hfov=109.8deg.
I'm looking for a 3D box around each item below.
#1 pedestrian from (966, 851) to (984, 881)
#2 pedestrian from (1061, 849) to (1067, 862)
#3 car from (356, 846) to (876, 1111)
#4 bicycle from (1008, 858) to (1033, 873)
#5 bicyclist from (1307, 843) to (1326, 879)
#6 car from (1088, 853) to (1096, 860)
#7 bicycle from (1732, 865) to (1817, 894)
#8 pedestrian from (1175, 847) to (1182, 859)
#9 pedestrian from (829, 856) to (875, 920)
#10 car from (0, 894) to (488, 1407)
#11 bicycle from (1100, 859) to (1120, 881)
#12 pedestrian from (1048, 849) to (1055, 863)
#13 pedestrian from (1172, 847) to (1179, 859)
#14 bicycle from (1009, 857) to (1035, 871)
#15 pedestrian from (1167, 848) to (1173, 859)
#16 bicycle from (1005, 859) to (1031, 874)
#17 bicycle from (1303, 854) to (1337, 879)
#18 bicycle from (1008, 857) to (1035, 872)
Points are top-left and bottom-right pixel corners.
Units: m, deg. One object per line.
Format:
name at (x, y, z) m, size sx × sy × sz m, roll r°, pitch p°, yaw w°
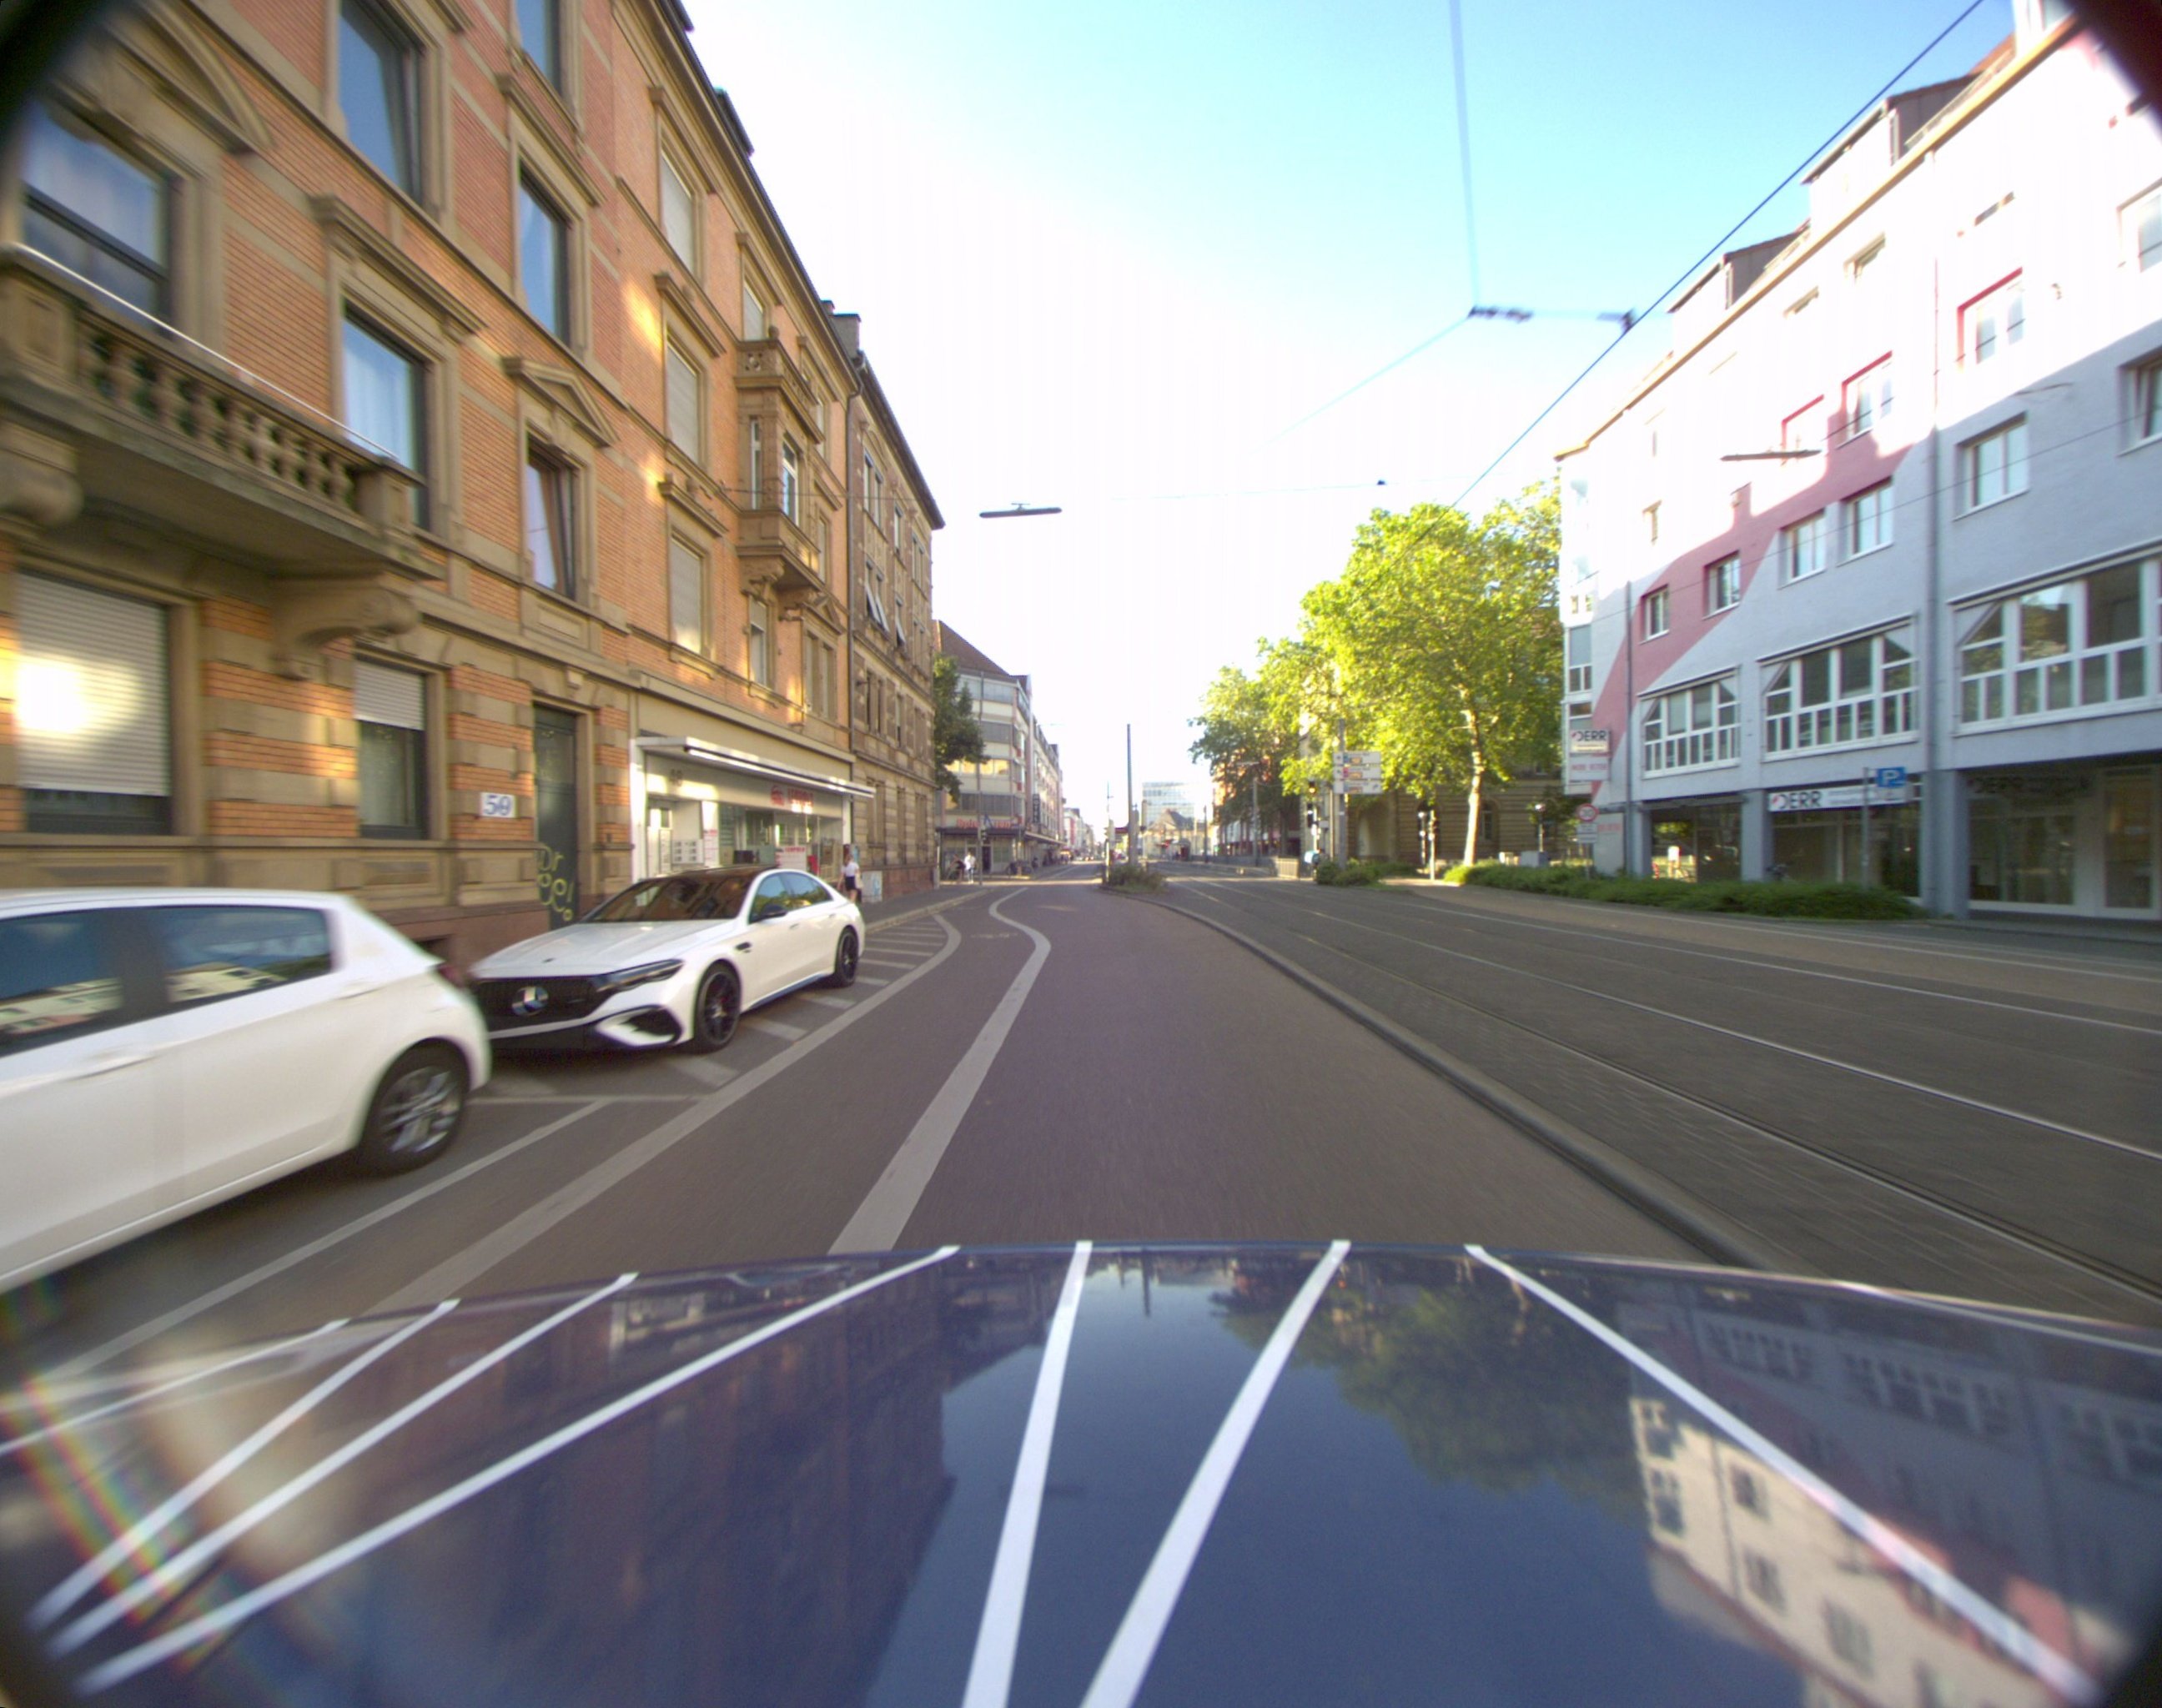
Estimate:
pedestrian at (-5.881, 0.680, 42.262) m, size 0.785 × 1.655 × 1.034 m, roll -1°, pitch -1°, yaw 3°
pedestrian at (-2.451, 0.220, 108.848) m, size 0.800 × 1.713 × 1.061 m, roll 2°, pitch 2°, yaw 3°
car at (-3.851, 0.838, 7.634) m, size 1.971 × 1.761 × 4.875 m, roll -2°, pitch 1°, yaw 3°
bicycle at (-4.538, 0.882, 57.214) m, size 1.838 × 1.048 × 0.718 m, roll -1°, pitch 1°, yaw -1°
bicyclist at (11.331, 0.320, 36.552) m, size 0.747 × 1.702 × 0.532 m, roll -2°, pitch 1°, yaw -44°
car at (2.762, 0.711, 193.596) m, size 1.971 × 1.664 × 4.876 m, roll -2°, pitch 0°, yaw 2°
bicycle at (17.932, 0.639, 19.705) m, size 0.457 × 0.654 × 1.809 m, roll -3°, pitch 1°, yaw -3°
pedestrian at (13.119, -0.150, 102.178) m, size 0.913 × 1.652 × 0.967 m, roll -1°, pitch 1°, yaw 1°
pedestrian at (-5.841, 0.849, 19.412) m, size 0.777 × 1.558 × 0.914 m, roll 3°, pitch 1°, yaw 5°
car at (-4.271, 1.018, 2.321) m, size 1.735 × 1.487 × 3.961 m, roll -2°, pitch 1°, yaw 0°
bicycle at (1.462, 0.817, 39.040) m, size 0.584 × 1.071 × 1.898 m, roll -3°, pitch 1°, yaw -10°
pedestrian at (-4.140, 0.278, 106.860) m, size 0.917 × 1.856 × 0.779 m, roll 1°, pitch 1°, yaw -1°
pedestrian at (14.931, -0.148, 120.086) m, size 0.859 × 1.757 × 0.812 m, roll -3°, pitch 1°, yaw 10°
bicycle at (-4.523, 0.773, 58.599) m, size 1.918 × 1.041 × 0.681 m, roll -1°, pitch 1°, yaw -1°
pedestrian at (13.954, -0.102, 118.950) m, size 0.860 × 1.757 × 0.811 m, roll -3°, pitch 1°, yaw 6°
bicycle at (-4.571, 0.895, 55.539) m, size 1.838 × 1.048 × 0.710 m, roll -1°, pitch 1°, yaw -1°
bicycle at (11.560, 0.604, 36.721) m, size 1.903 × 1.071 × 0.582 m, roll -4°, pitch 1°, yaw -42°
bicycle at (-4.524, 0.794, 57.942) m, size 1.975 × 1.098 × 0.614 m, roll 0°, pitch 1°, yaw -1°
